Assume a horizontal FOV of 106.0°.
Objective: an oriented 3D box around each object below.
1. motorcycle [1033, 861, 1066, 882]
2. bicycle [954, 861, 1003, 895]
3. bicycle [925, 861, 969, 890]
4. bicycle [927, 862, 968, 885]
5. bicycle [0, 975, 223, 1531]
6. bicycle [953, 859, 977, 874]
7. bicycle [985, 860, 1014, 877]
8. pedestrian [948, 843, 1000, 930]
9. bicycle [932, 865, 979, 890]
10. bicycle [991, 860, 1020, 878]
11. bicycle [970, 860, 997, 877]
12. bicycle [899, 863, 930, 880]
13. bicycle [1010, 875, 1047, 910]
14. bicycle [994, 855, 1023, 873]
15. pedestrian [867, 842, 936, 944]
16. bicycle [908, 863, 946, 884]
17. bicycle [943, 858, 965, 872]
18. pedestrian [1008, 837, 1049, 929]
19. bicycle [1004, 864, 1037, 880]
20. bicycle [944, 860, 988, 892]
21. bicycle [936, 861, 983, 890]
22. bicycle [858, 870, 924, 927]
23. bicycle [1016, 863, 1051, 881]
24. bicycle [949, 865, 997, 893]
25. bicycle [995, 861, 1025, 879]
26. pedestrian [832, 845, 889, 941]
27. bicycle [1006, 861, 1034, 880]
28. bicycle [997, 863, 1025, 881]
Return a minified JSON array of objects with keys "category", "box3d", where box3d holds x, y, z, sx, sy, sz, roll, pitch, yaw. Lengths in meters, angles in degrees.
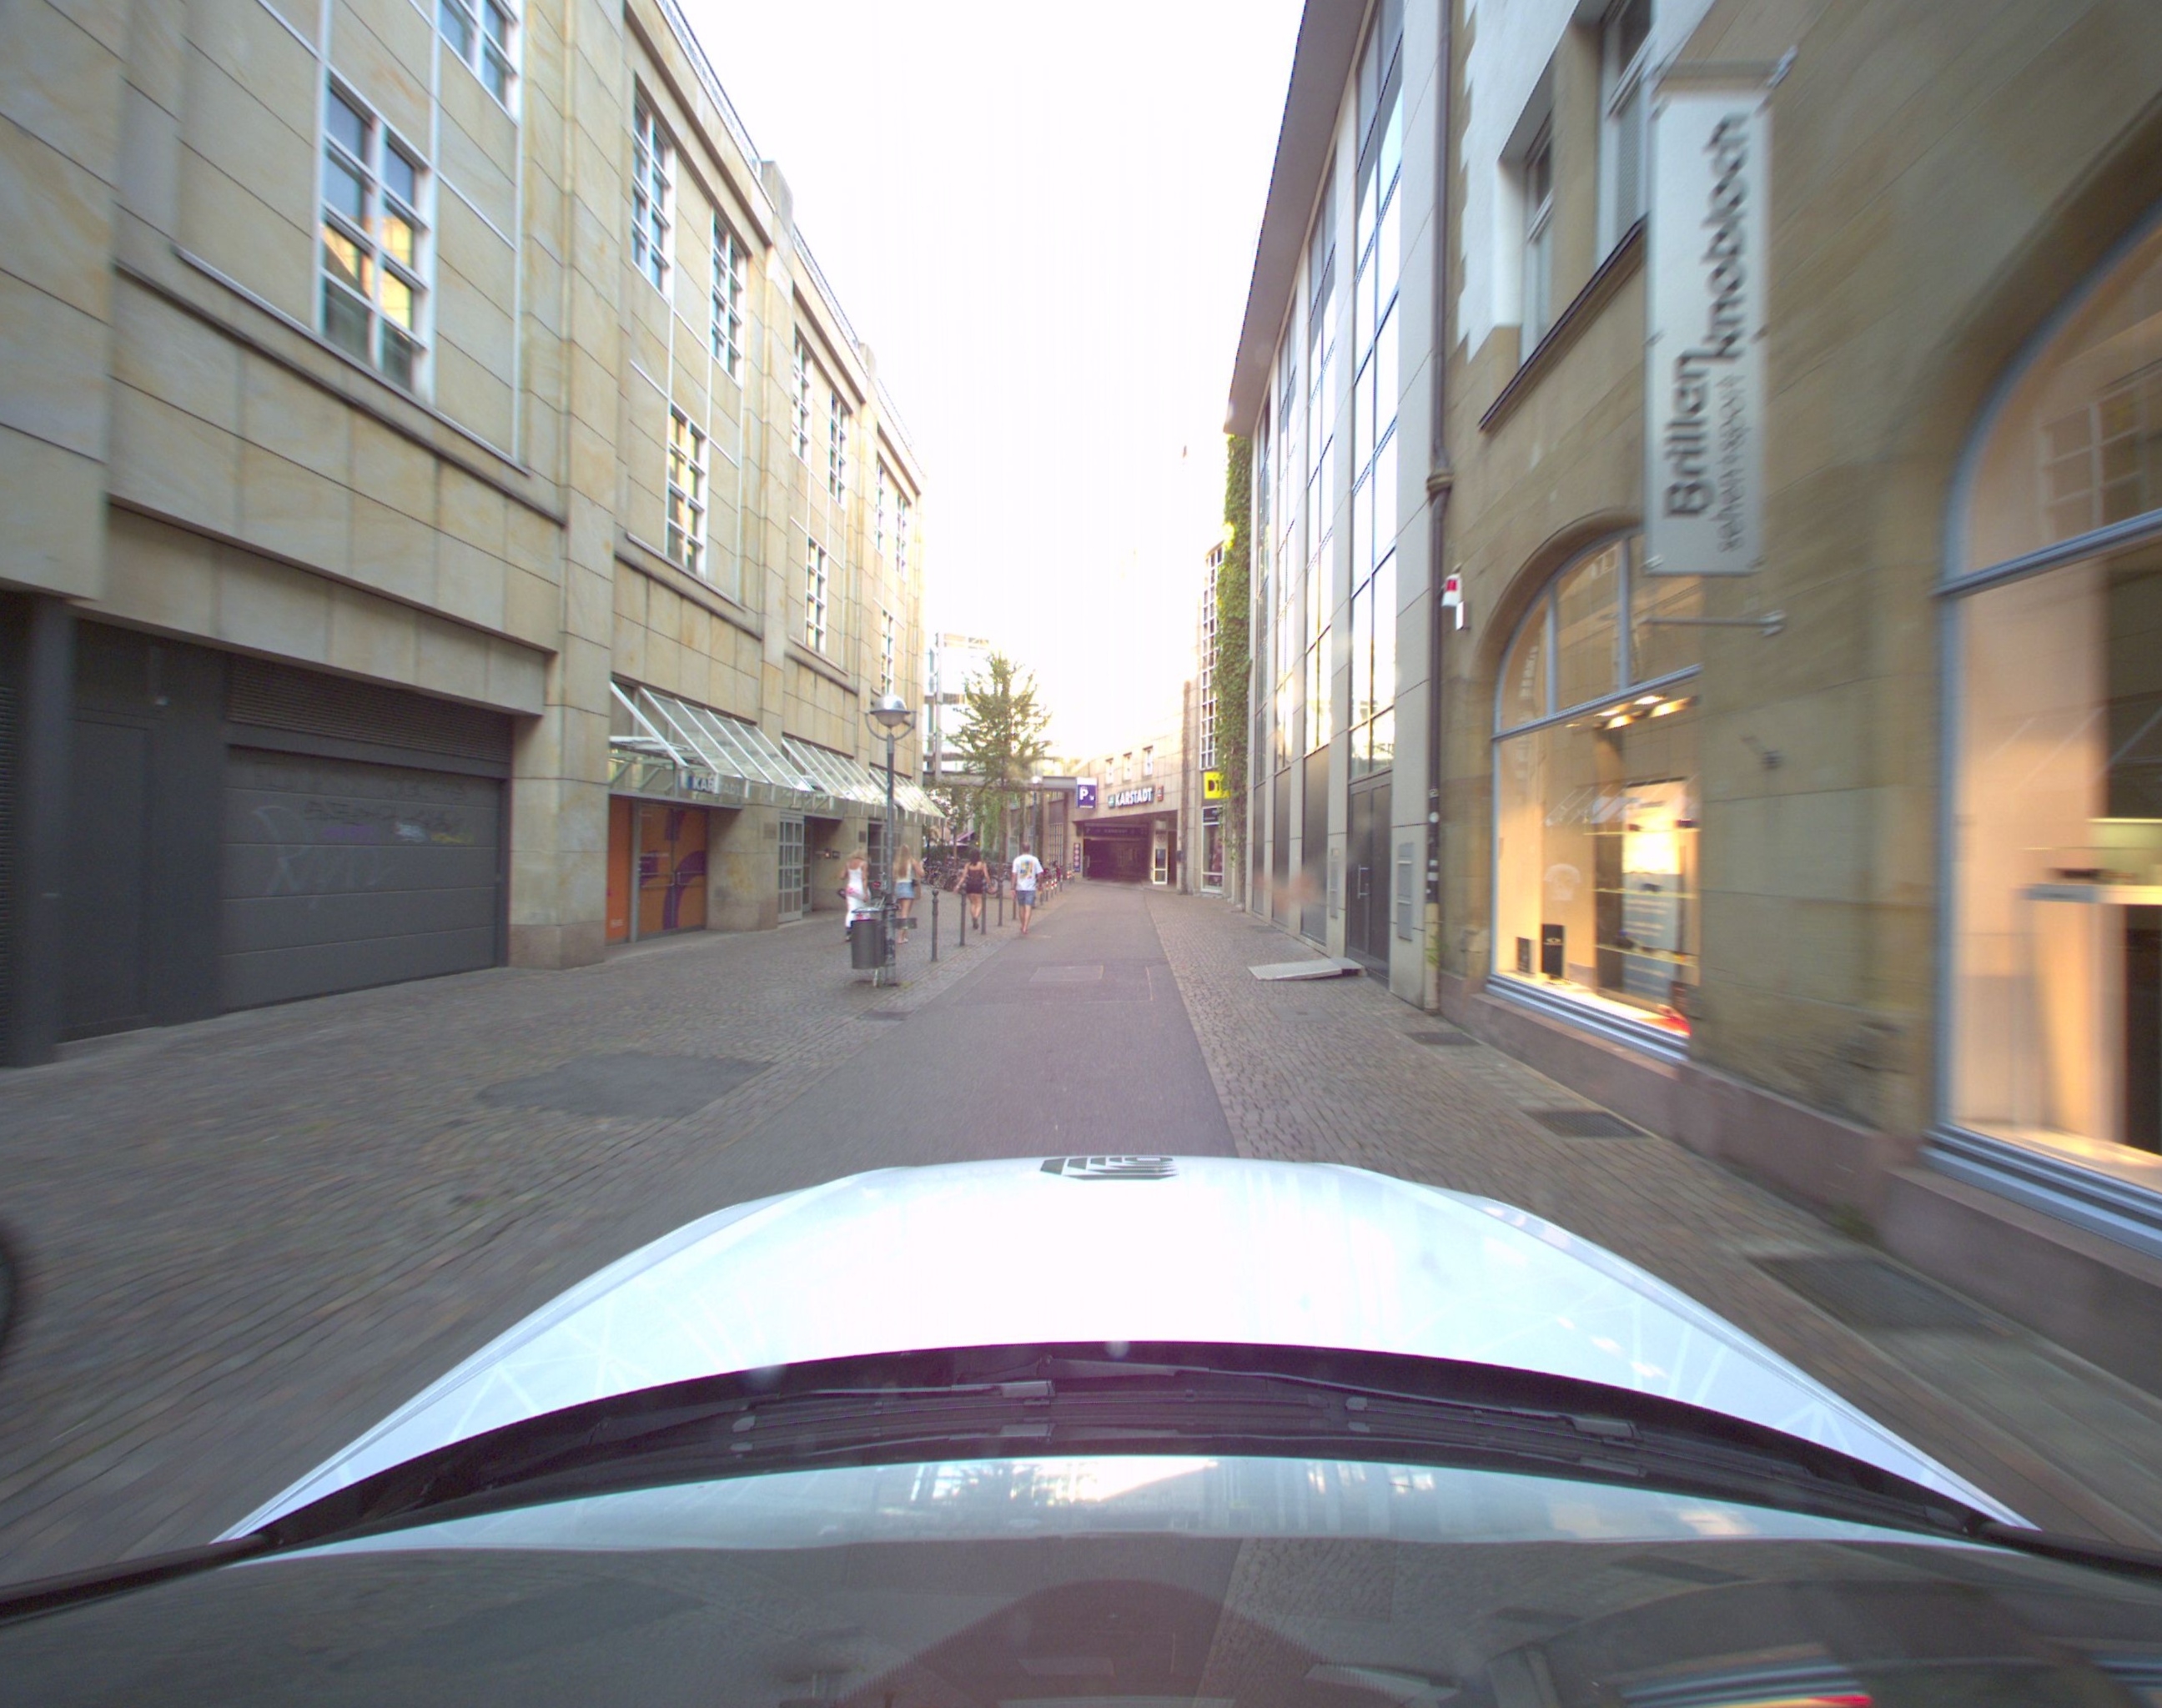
[{"category":"motorcycle","box3d":[-1.662,0.914,43.037,1.667,1.050,0.461,0,0,-18]},{"category":"bicycle","box3d":[-3.891,0.893,30.882,1.772,1.231,0.530,0,0,-20]},{"category":"bicycle","box3d":[-5.809,0.903,35.282,1.839,1.225,0.530,0,0,-20]},{"category":"bicycle","box3d":[-6.385,0.932,39.090,1.883,1.043,0.530,0,0,-20]},{"category":"bicycle","box3d":[-2.686,0.918,1.266,0.530,1.153,1.917,2,0,4]},{"category":"bicycle","box3d":[-8.775,0.927,61.560,1.776,1.114,0.540,0,0,-15]},{"category":"bicycle","box3d":[-5.352,0.928,53.400,1.778,1.114,0.539,0,0,-18]},{"category":"pedestrian","box3d":[-2.290,0.676,17.532,0.779,1.795,0.976,0,0,14]},{"category":"bicycle","box3d":[-5.323,0.987,34.589,1.900,1.052,0.530,0,0,-20]},{"category":"bicycle","box3d":[-4.857,0.942,52.351,1.778,1.114,0.539,0,0,-18]},{"category":"bicycle","box3d":[-6.687,1.002,55.705,1.778,1.114,0.539,0,0,-18]},{"category":"bicycle","box3d":[-10.116,1.082,49.541,1.786,1.019,0.478,0,0,-20]},{"category":"bicycle","box3d":[-1.550,1.136,24.346,0.489,0.939,1.667,2,0,18]},{"category":"bicycle","box3d":[-4.559,0.655,51.141,1.778,1.114,0.539,1,0,-18]},{"category":"pedestrian","box3d":[-3.149,0.659,14.374,0.800,1.729,0.953,1,0,17]},{"category":"bicycle","box3d":[-7.742,0.978,40.897,1.831,1.043,0.530,0,0,-20]},{"category":"bicycle","box3d":[-10.409,0.899,66.815,1.778,1.190,0.583,0,0,-18]},{"category":"pedestrian","box3d":[-1.052,0.577,16.561,0.739,1.822,0.879,0,0,2]},{"category":"bicycle","box3d":[-3.370,1.001,45.517,1.778,0.904,0.461,0,0,-18]},{"category":"bicycle","box3d":[-4.544,0.860,32.185,1.659,1.231,0.530,0,0,-20]},{"category":"bicycle","box3d":[-5.070,0.905,34.051,1.878,1.177,0.530,0,0,-20]},{"category":"bicycle","box3d":[-4.086,0.925,17.613,0.517,1.138,1.773,0,0,19]},{"category":"bicycle","box3d":[-2.615,0.972,44.639,1.853,0.982,0.461,0,0,-18]},{"category":"bicycle","box3d":[-4.388,1.010,33.071,1.842,1.122,0.530,0,0,-20]},{"category":"bicycle","box3d":[-4.340,0.970,50.054,1.778,1.114,0.539,0,0,-18]},{"category":"pedestrian","box3d":[-3.946,0.673,14.619,0.670,1.664,0.863,1,0,9]},{"category":"bicycle","box3d":[-3.471,0.926,46.473,1.543,1.049,0.572,0,0,-18]},{"category":"bicycle","box3d":[-4.054,1.042,47.470,1.543,1.049,0.572,0,0,-18]}]
